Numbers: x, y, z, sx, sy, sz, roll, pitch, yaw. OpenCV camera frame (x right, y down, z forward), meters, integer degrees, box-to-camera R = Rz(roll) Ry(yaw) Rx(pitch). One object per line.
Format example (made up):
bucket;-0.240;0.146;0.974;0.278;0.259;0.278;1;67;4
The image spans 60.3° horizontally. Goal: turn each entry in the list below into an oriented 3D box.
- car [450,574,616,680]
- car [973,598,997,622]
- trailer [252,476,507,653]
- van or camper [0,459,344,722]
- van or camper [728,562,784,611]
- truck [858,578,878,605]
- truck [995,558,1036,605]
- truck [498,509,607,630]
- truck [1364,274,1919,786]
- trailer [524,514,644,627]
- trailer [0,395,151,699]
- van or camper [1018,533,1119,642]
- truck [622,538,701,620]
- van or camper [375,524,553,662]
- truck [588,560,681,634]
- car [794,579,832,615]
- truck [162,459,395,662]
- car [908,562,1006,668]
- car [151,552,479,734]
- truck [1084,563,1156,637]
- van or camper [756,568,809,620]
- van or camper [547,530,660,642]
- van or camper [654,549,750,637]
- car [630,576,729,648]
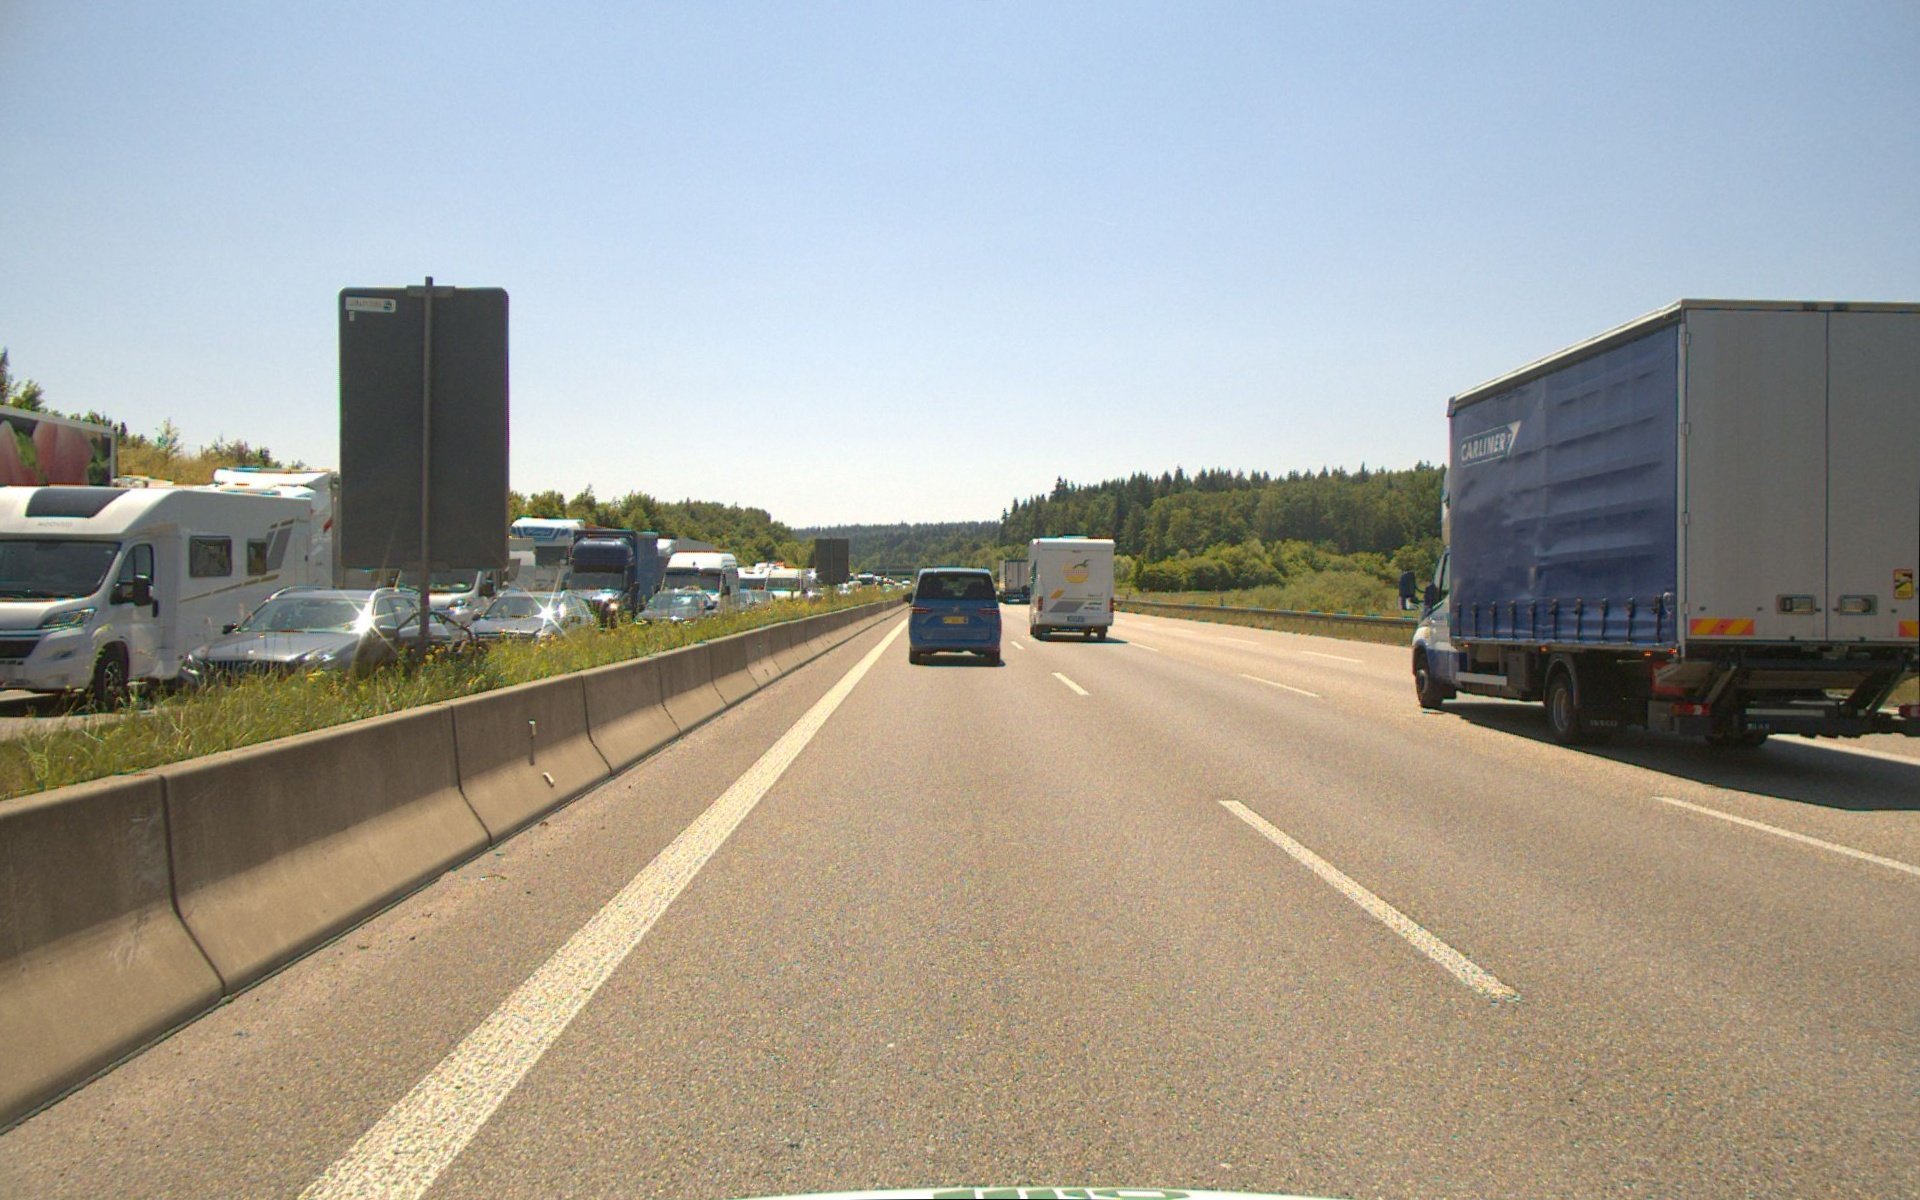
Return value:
car;-7.705;0.461;30.307;1.775;1.760;4.972;1;0;-1
car;1.985;0.782;133.143;1.781;1.825;3.893;1;0;-1
trailer;-15.377;-0.829;45.141;2.724;4.104;12.248;1;0;-1
van or camper;-11.481;-0.120;23.037;2.784;3.000;8.111;1;0;-1
van or camper;-12.919;-0.809;105.152;2.492;2.988;7.828;0;0;1
truck;-13.882;-1.233;250.003;2.564;3.958;7.401;-1;0;-1
truck;5.175;-1.732;156.680;3.416;4.243;8.640;1;0;-1
truck;-15.730;-1.113;64.348;2.537;4.401;7.290;1;0;-2
truck;7.288;-0.560;18.570;2.727;4.200;9.735;1;0;-2
trailer;-15.873;-1.158;70.798;2.559;4.385;11.997;1;0;-1
trailer;-14.988;-0.769;22.454;2.732;4.314;10.790;1;0;-1
van or camper;3.303;-0.450;51.949;2.550;3.132;7.182;1;1;-1
truck;-15.901;-1.060;88.752;2.521;4.149;9.693;1;0;-1
van or camper;-11.678;-0.149;39.601;2.107;2.974;7.223;1;0;-1
truck;-11.832;-0.105;60.563;2.189;2.549;6.860;0;0;-1
car;-8.660;-0.197;97.602;1.953;2.049;3.999;0;0;-1
truck;-15.264;-0.820;37.591;2.744;4.200;6.140;1;0;-1
car;-0.094;0.273;34.329;1.870;2.049;3.999;-1;1;-1
car;-7.428;0.445;19.756;1.775;1.841;5.542;1;0;-1
truck;8.295;-0.067;86.655;2.868;3.637;8.526;-1;1;0
van or camper;-8.947;-0.284;83.625;2.148;2.550;6.056;0;0;-1
van or camper;-11.681;-0.438;54.810;2.266;3.449;7.678;0;0;-1
van or camper;-8.063;-0.205;52.257;2.148;2.585;6.415;0;0;-1
car;-7.260;0.301;43.231;1.775;1.760;4.934;1;0;-1
